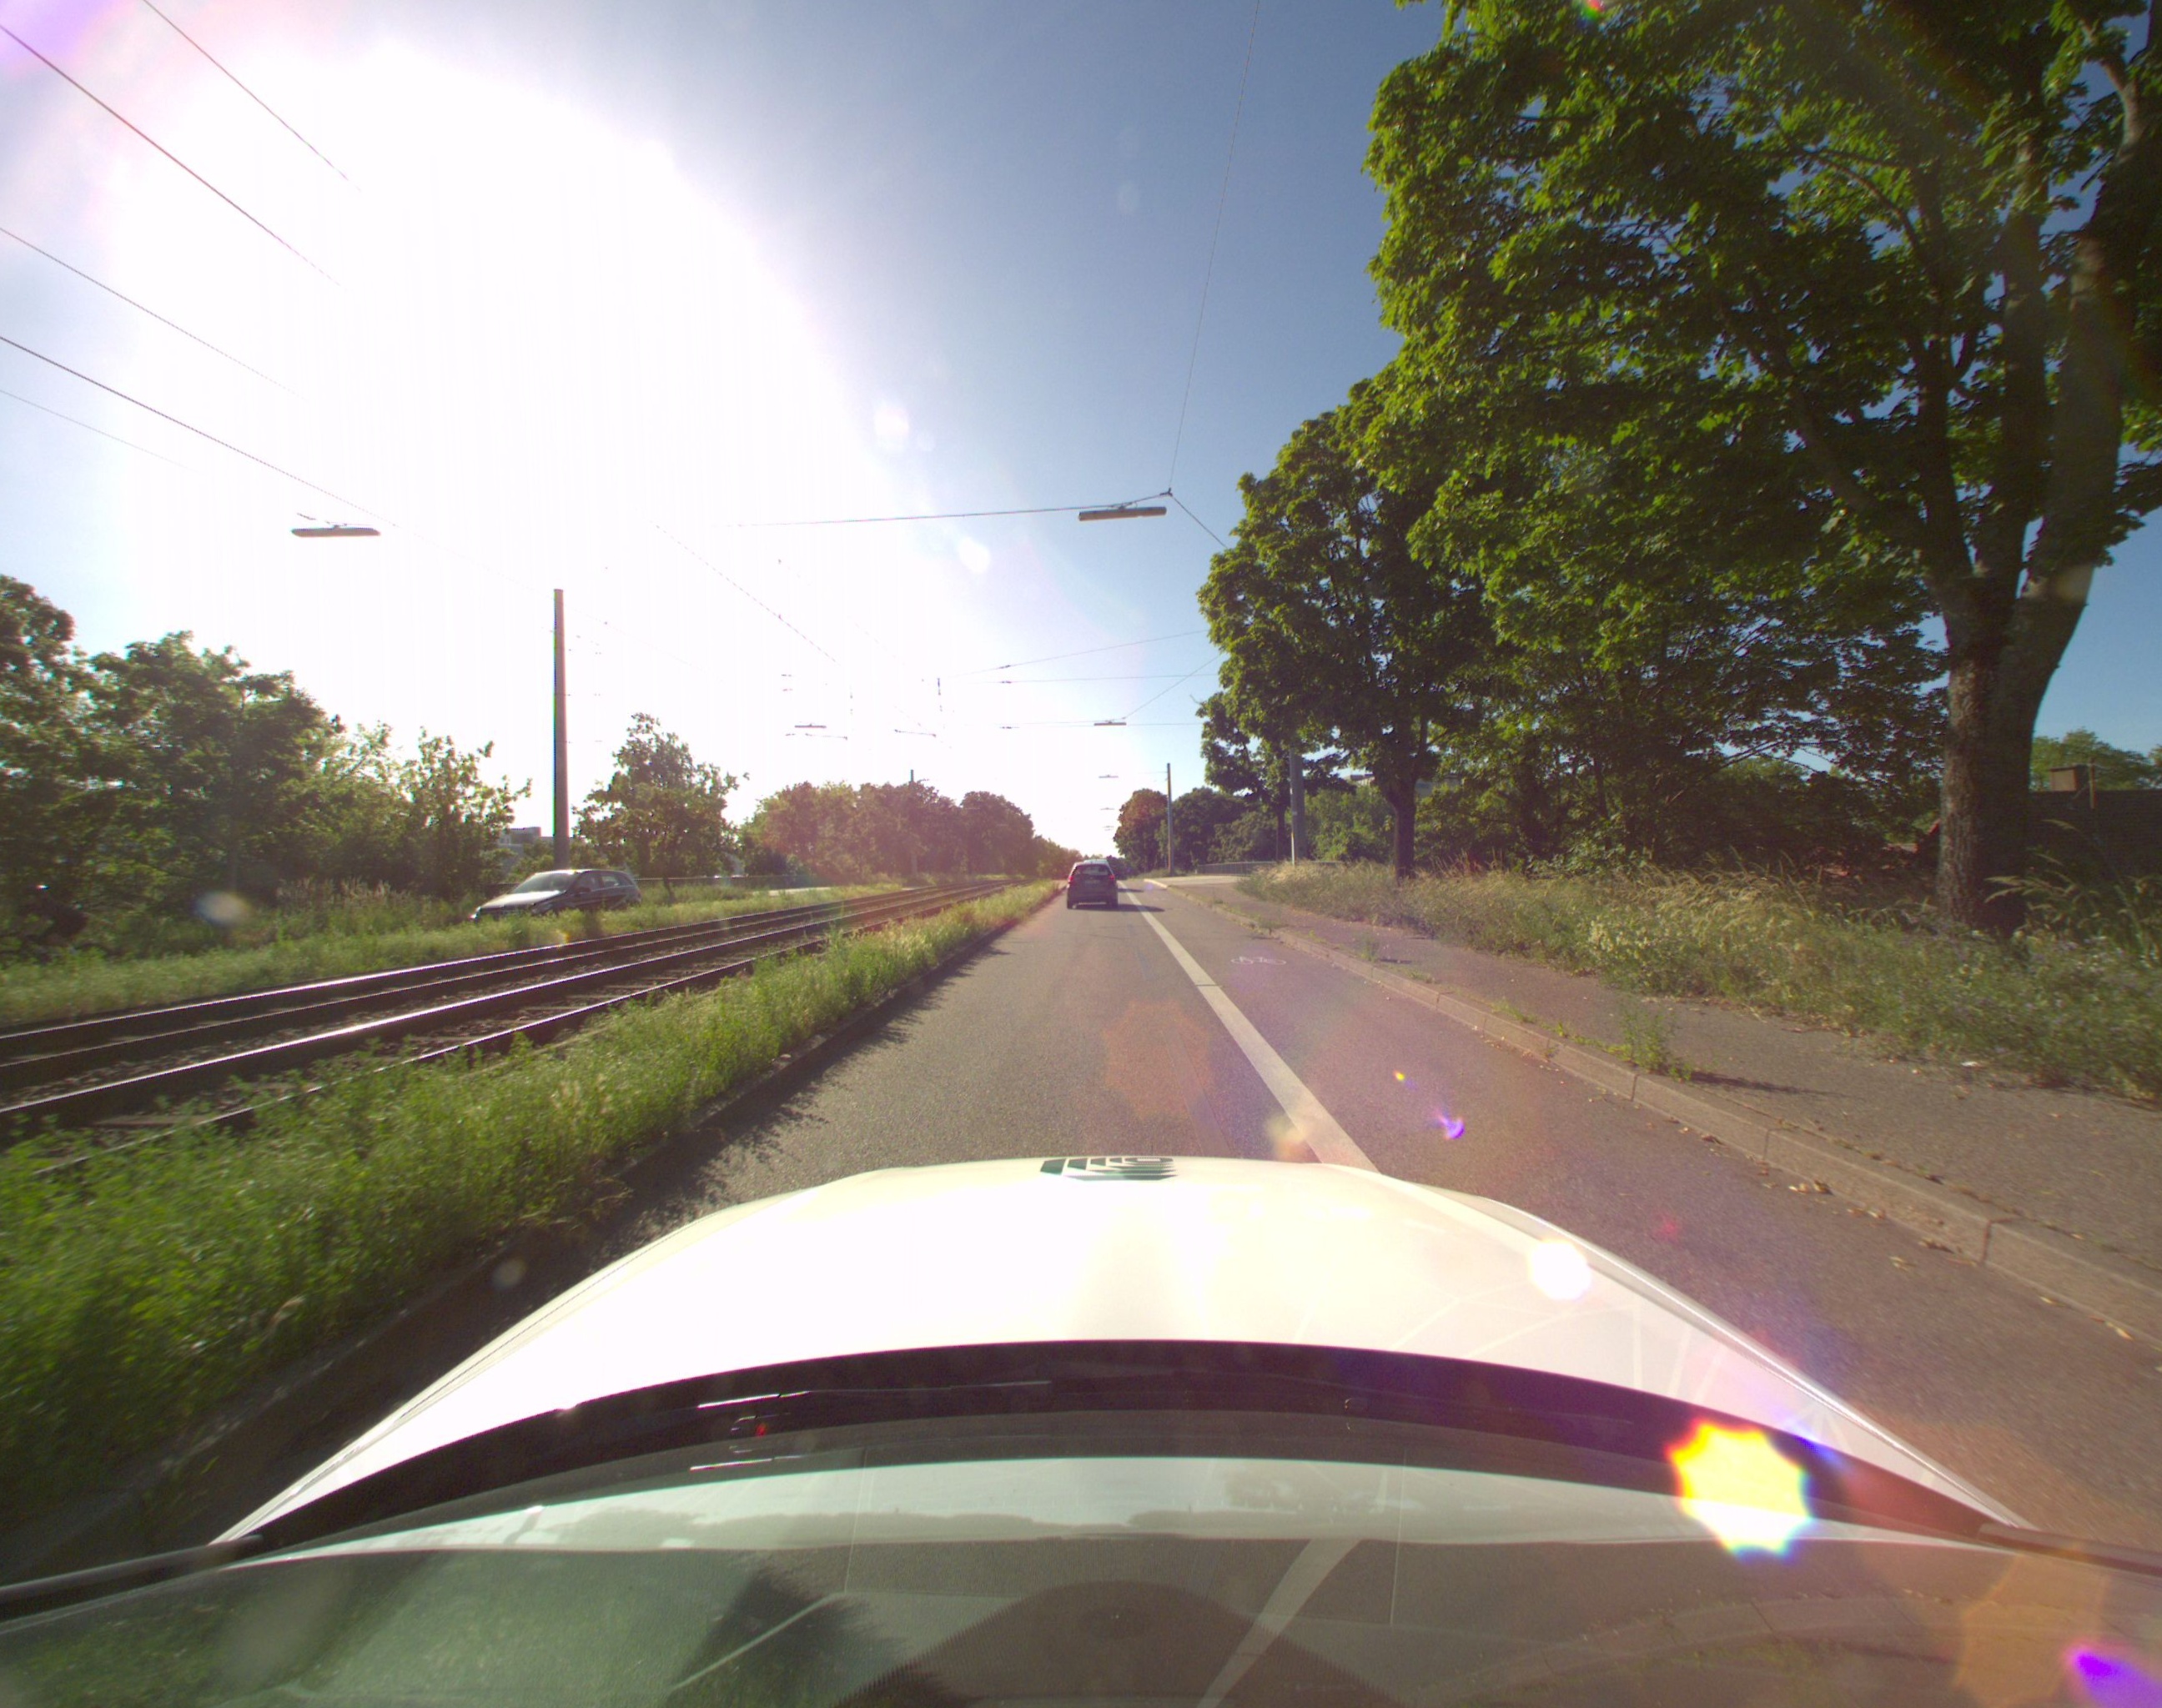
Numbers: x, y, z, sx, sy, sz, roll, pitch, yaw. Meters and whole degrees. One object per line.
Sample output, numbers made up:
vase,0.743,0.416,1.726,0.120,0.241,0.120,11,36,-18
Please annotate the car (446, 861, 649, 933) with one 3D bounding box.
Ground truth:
car,-12.558,0.939,19.585,1.802,1.489,4.409,0,0,3

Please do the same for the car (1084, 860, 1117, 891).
car,1.077,1.084,42.808,1.648,1.507,3.813,0,0,2

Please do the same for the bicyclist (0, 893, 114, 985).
bicyclist,-15.719,1.273,12.492,0.580,1.310,0.988,0,0,2

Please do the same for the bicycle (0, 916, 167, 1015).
bicycle,-15.714,1.675,12.486,0.587,1.261,2.428,0,0,2

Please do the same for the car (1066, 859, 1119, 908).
car,0.401,0.952,27.603,1.664,1.507,3.812,0,0,1
